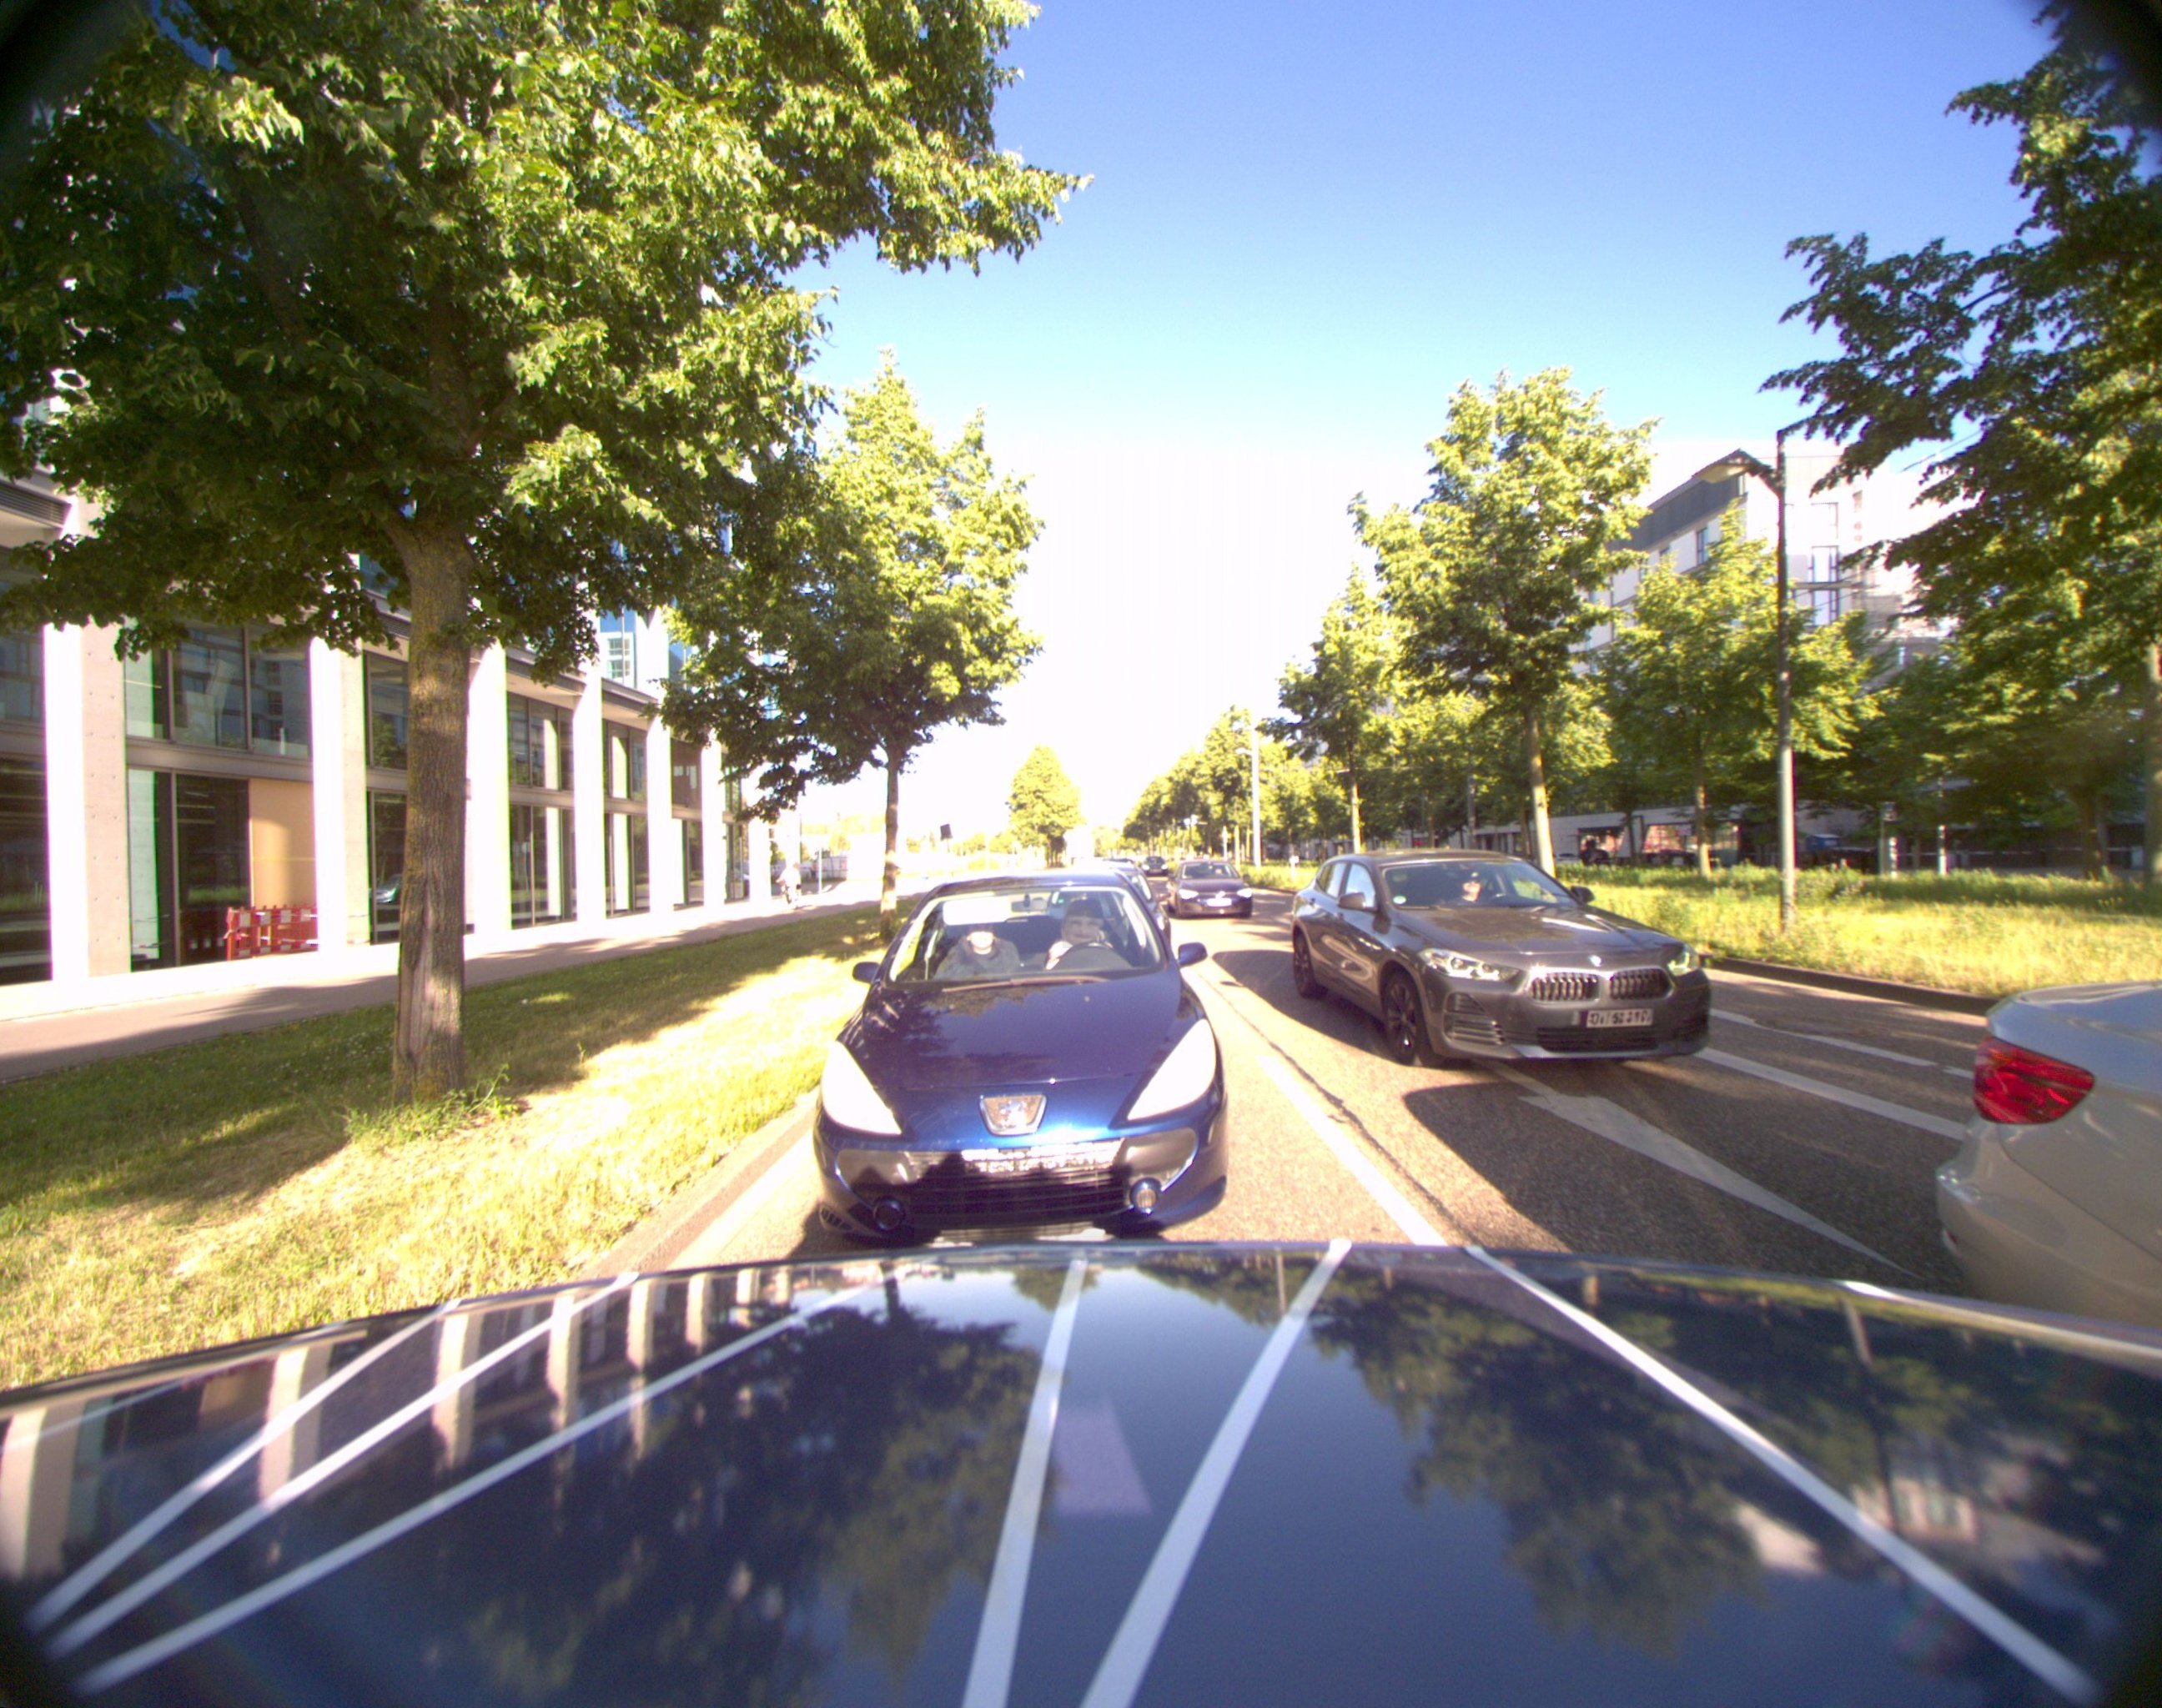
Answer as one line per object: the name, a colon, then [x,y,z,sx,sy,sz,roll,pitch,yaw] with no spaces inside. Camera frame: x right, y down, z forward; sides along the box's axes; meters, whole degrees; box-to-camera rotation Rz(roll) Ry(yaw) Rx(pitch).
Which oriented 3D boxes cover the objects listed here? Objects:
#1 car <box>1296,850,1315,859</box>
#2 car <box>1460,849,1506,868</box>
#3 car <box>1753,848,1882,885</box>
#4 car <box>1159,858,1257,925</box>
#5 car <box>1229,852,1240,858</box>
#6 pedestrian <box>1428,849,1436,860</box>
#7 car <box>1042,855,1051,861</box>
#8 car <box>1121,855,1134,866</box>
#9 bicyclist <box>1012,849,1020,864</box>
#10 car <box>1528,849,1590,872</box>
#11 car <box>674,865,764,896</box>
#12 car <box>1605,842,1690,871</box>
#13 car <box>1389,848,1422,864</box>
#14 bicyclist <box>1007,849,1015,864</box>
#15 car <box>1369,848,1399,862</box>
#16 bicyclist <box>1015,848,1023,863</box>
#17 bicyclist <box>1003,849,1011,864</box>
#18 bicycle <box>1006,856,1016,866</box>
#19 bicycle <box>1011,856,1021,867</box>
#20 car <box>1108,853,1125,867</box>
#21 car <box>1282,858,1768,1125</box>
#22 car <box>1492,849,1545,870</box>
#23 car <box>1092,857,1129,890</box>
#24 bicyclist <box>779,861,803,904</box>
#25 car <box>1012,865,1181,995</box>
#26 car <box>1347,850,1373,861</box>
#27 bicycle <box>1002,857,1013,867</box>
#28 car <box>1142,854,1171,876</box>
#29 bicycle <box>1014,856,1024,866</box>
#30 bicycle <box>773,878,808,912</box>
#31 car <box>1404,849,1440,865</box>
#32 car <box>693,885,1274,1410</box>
car: [36.598,0.019,124.155,1.998,1.387,4.000,-1,0,1]
car: [35.147,0.369,66.515,1.884,1.588,4.184,-1,0,1]
car: [34.080,0.544,35.353,1.951,1.588,4.184,-1,0,1]
car: [3.092,0.859,19.317,1.878,1.415,4.344,-1,0,2]
car: [36.101,0.181,179.233,1.998,1.387,4.001,-1,0,4]
pedestrian: [41.959,0.072,90.843,0.604,1.331,0.660,-1,1,1]
car: [-9.062,1.035,199.681,1.998,1.556,4.835,-1,0,1]
car: [7.260,0.959,118.284,1.878,1.561,4.344,-1,0,2]
bicyclist: [-8.939,0.287,104.631,0.931,2.045,1.121,-1,1,1]
car: [34.894,0.481,55.611,1.884,1.588,4.184,-1,0,1]
car: [-20.048,1.428,42.149,3.996,1.569,2.000,-1,0,3]
car: [33.507,0.139,45.111,1.951,1.588,4.184,-1,0,1]
car: [35.434,0.203,83.105,1.884,1.588,4.184,-1,0,1]
bicyclist: [-10.039,0.322,108.534,0.931,2.045,1.121,-1,1,1]
car: [35.492,0.147,89.026,1.884,1.588,4.184,-1,0,1]
bicyclist: [-8.890,0.247,108.792,0.931,2.045,1.121,-1,1,1]
bicyclist: [-10.107,0.363,104.430,0.931,2.045,1.121,-1,1,1]
bicycle: [-10.040,1.040,108.805,0.931,1.355,4.000,-1,0,1]
bicycle: [-8.919,1.005,104.727,0.931,1.355,4.000,-1,0,1]
car: [4.119,0.711,88.168,1.878,1.561,4.344,-1,0,2]
car: [3.084,0.813,6.387,1.861,1.482,4.000,-1,0,2]
car: [35.181,0.414,61.233,1.884,1.588,4.184,-1,0,1]
car: [1.464,0.946,38.489,1.724,1.516,4.000,-1,0,1]
bicyclist: [-10.427,1.026,27.338,0.591,1.530,0.699,1,0,-3]
car: [0.216,0.952,11.456,1.998,1.437,4.622,-1,0,1]
car: [35.261,0.197,96.056,1.998,1.387,4.001,-1,0,4]
bicycle: [-10.099,1.082,104.418,0.931,1.355,4.000,-1,0,1]
car: [5.758,0.830,58.388,1.878,1.577,4.344,-1,0,2]
bicycle: [-8.889,0.966,108.881,0.931,1.355,4.000,-1,0,1]
bicycle: [-10.435,1.443,27.344,0.591,1.149,1.927,1,0,-3]
car: [35.022,0.273,78.197,1.884,1.588,4.184,-1,0,1]
car: [-0.288,1.054,4.710,1.846,1.473,4.481,-2,0,1]
